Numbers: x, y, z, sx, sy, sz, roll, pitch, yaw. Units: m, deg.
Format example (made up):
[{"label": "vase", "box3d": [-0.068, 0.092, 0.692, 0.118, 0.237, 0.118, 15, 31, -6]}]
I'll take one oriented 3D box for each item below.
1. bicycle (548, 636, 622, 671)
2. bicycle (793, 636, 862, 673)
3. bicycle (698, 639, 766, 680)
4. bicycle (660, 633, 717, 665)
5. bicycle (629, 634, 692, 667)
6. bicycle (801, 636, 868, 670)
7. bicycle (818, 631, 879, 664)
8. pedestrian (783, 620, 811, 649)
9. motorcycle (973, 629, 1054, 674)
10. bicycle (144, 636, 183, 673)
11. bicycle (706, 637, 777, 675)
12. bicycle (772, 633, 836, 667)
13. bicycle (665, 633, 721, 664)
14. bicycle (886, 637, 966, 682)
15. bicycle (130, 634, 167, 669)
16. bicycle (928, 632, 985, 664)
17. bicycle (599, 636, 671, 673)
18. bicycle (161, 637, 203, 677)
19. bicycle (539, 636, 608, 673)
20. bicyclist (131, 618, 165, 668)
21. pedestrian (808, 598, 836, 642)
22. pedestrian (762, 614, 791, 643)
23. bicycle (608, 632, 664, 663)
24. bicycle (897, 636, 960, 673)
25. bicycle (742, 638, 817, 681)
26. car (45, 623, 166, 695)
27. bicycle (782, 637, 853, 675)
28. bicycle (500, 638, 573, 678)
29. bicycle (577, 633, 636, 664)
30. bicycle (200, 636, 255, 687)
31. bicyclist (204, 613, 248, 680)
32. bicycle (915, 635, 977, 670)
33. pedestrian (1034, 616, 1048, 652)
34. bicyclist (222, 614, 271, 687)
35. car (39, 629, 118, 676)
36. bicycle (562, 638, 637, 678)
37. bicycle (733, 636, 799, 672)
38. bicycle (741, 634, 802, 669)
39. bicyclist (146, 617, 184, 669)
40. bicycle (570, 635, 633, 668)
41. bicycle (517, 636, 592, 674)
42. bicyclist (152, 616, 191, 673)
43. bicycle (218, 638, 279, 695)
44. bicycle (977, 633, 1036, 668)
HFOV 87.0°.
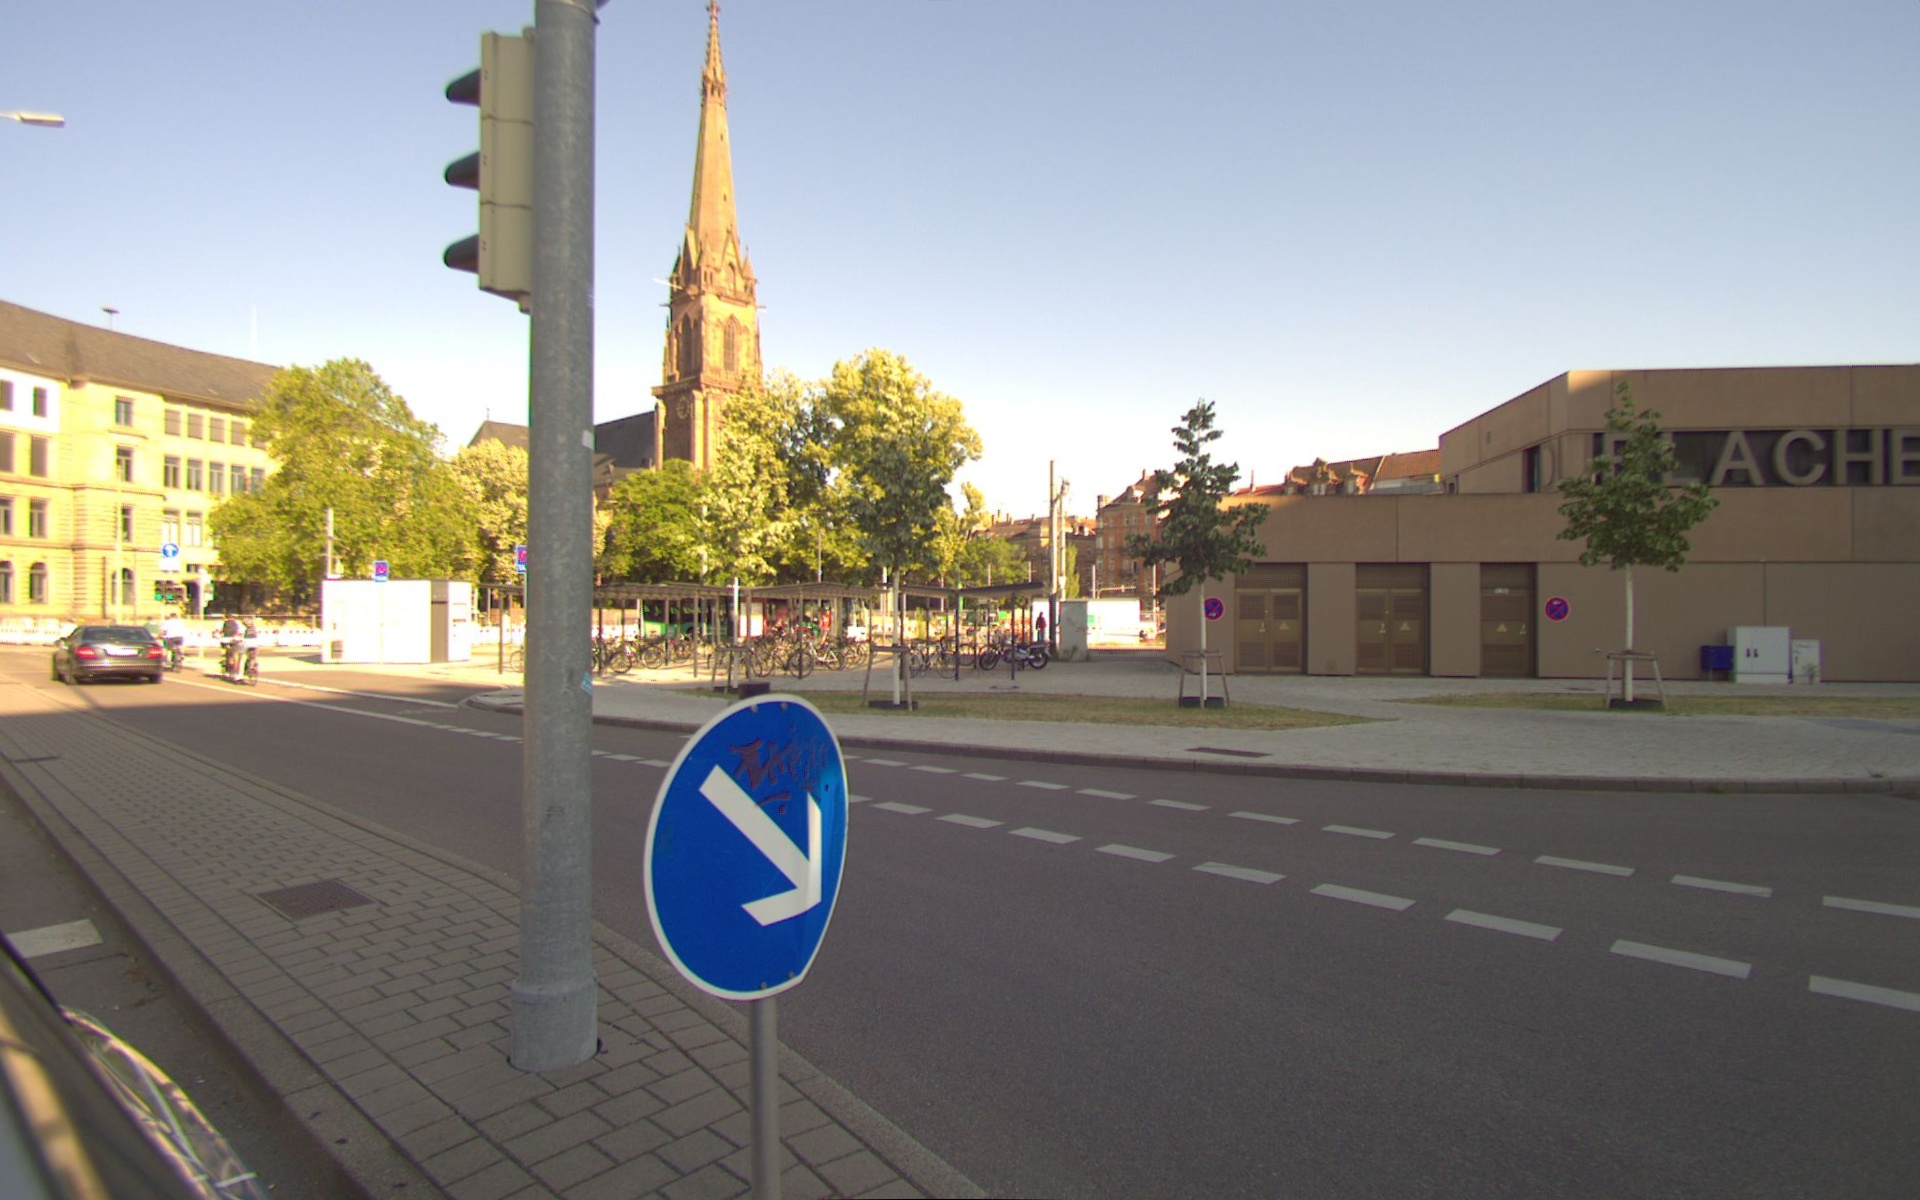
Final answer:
[{"label": "bicycle", "box3d": [-12.130, 1.713, 32.755, 2.093, 1.062, 0.836, 0, 1, 5]}, {"label": "bicycle", "box3d": [-4.095, 1.676, 31.300, 2.012, 1.051, 0.602, 0, 1, 11]}, {"label": "bicycle", "box3d": [-6.364, 1.654, 28.292, 1.776, 1.114, 0.485, 0, 1, 1]}, {"label": "bicycle", "box3d": [-9.612, 1.724, 35.826, 1.951, 1.062, 0.417, 0, 1, 9]}, {"label": "bicycle", "box3d": [-9.970, 1.675, 33.715, 1.948, 1.062, 0.566, 0, 1, 5]}, {"label": "bicycle", "box3d": [-4.054, 1.709, 32.812, 2.082, 1.051, 0.603, 0, 1, 6]}, {"label": "bicycle", "box3d": [-3.869, 1.634, 35.218, 2.046, 1.097, 0.565, 0, 1, 7]}, {"label": "pedestrian", "box3d": [-8.014, 1.677, 49.858, 1.067, 1.359, 1.050, -1, 0, 10]}, {"label": "motorcycle", "box3d": [1.593, 1.519, 30.076, 2.330, 1.257, 0.718, -1, 0, 9]}, {"label": "bicycle", "box3d": [-25.928, 1.752, 32.941, 0.869, 1.105, 2.192, 1, -1, -41]}, {"label": "bicycle", "box3d": [-6.533, 1.660, 30.338, 1.907, 1.051, 0.865, 0, 1, 5]}, {"label": "bicycle", "box3d": [-5.264, 1.673, 34.183, 2.046, 1.097, 0.565, 0, 1, 7]}, {"label": "bicycle", "box3d": [-9.563, 1.718, 36.249, 1.951, 1.062, 0.417, 0, 1, 9]}, {"label": "bicycle", "box3d": [-0.905, 1.589, 27.216, 2.097, 1.114, 0.744, -1, 0, 4]}, {"label": "bicycle", "box3d": [-27.938, 1.751, 34.824, 0.869, 1.105, 2.192, 1, -1, -41]}, {"label": "bicycle", "box3d": [-0.116, 1.644, 34.604, 1.908, 1.051, 0.522, 0, 1, 6]}, {"label": "bicycle", "box3d": [-9.920, 1.664, 30.930, 1.950, 1.062, 0.757, 0, 1, 7]}, {"label": "bicycle", "box3d": [-23.580, 1.708, 30.656, 0.869, 1.105, 2.192, 1, -1, -41]}, {"label": "bicycle", "box3d": [-11.887, 1.670, 31.131, 1.914, 1.062, 0.681, 0, 1, 8]}, {"label": "bicyclist", "box3d": [-27.943, 1.459, 34.832, 0.853, 1.666, 0.945, 1, -2, -42]}, {"label": "pedestrian", "box3d": [-6.597, 0.946, 48.407, 1.018, 2.029, 1.131, -1, 0, 10]}, {"label": "pedestrian", "box3d": [-8.798, 1.373, 48.655, 1.067, 1.359, 1.050, -1, 0, 10]}, {"label": "bicycle", "box3d": [-11.624, 1.689, 36.284, 1.951, 1.062, 0.417, 0, 1, 9]}, {"label": "bicycle", "box3d": [-0.923, 1.617, 29.959, 1.823, 1.051, 0.522, 0, 1, 3]}, {"label": "bicycle", "box3d": [-4.952, 1.629, 27.725, 1.950, 1.114, 0.566, 0, 1, 8]}, {"label": "car", "box3d": [-20.739, 1.349, 24.505, 3.978, 1.455, 1.781, 1, 1, 43]}, {"label": "bicycle", "box3d": [-4.239, 1.658, 30.194, 2.010, 1.051, 0.603, 0, 1, 8]}, {"label": "bicycle", "box3d": [-11.981, 1.633, 28.605, 1.953, 1.062, 0.565, 1, 1, 13]}, {"label": "bicycle", "box3d": [-12.498, 1.712, 35.830, 1.948, 1.062, 0.497, 0, 1, 4]}, {"label": "bicycle", "box3d": [-19.180, 1.568, 26.465, 0.754, 1.196, 2.607, -2, 1, -45]}, {"label": "bicyclist", "box3d": [-19.214, 1.200, 26.491, 0.754, 1.681, 1.062, -1, 1, -45]}, {"label": "bicycle", "box3d": [-0.442, 1.674, 32.333, 1.908, 1.051, 0.522, 0, 1, 6]}, {"label": "pedestrian", "box3d": [3.925, 1.635, 48.970, 0.484, 1.699, 0.538, -1, -2, 44]}, {"label": "bicyclist", "box3d": [-17.051, 1.179, 24.189, 0.754, 1.681, 1.062, -1, 1, -45]}, {"label": "car", "box3d": [-27.330, 1.579, 31.352, 3.502, 1.348, 1.365, -1, -1, 41]}, {"label": "bicycle", "box3d": [-10.260, 1.650, 28.825, 1.948, 1.062, 0.566, 0, 1, 5]}, {"label": "bicycle", "box3d": [-6.085, 1.684, 31.737, 1.907, 1.051, 0.766, 0, 1, 5]}, {"label": "bicycle", "box3d": [-6.155, 1.668, 33.090, 1.908, 1.097, 0.535, 0, 1, 6]}, {"label": "bicyclist", "box3d": [-25.881, 1.388, 32.934, 0.853, 1.666, 0.945, 1, -1, -44]}, {"label": "bicycle", "box3d": [-12.041, 1.721, 34.058, 1.946, 1.062, 0.511, 0, 1, 0]}, {"label": "bicycle", "box3d": [-12.087, 1.642, 30.179, 1.999, 1.062, 0.681, 0, 1, 8]}, {"label": "bicyclist", "box3d": [-23.701, 1.315, 30.415, 0.853, 1.666, 0.945, 1, -2, -42]}, {"label": "bicycle", "box3d": [-17.001, 1.547, 24.145, 0.754, 1.196, 2.607, -2, 1, -45]}, {"label": "bicycle", "box3d": [1.469, 1.603, 32.048, 1.824, 1.051, 0.522, 0, 1, 4]}]
